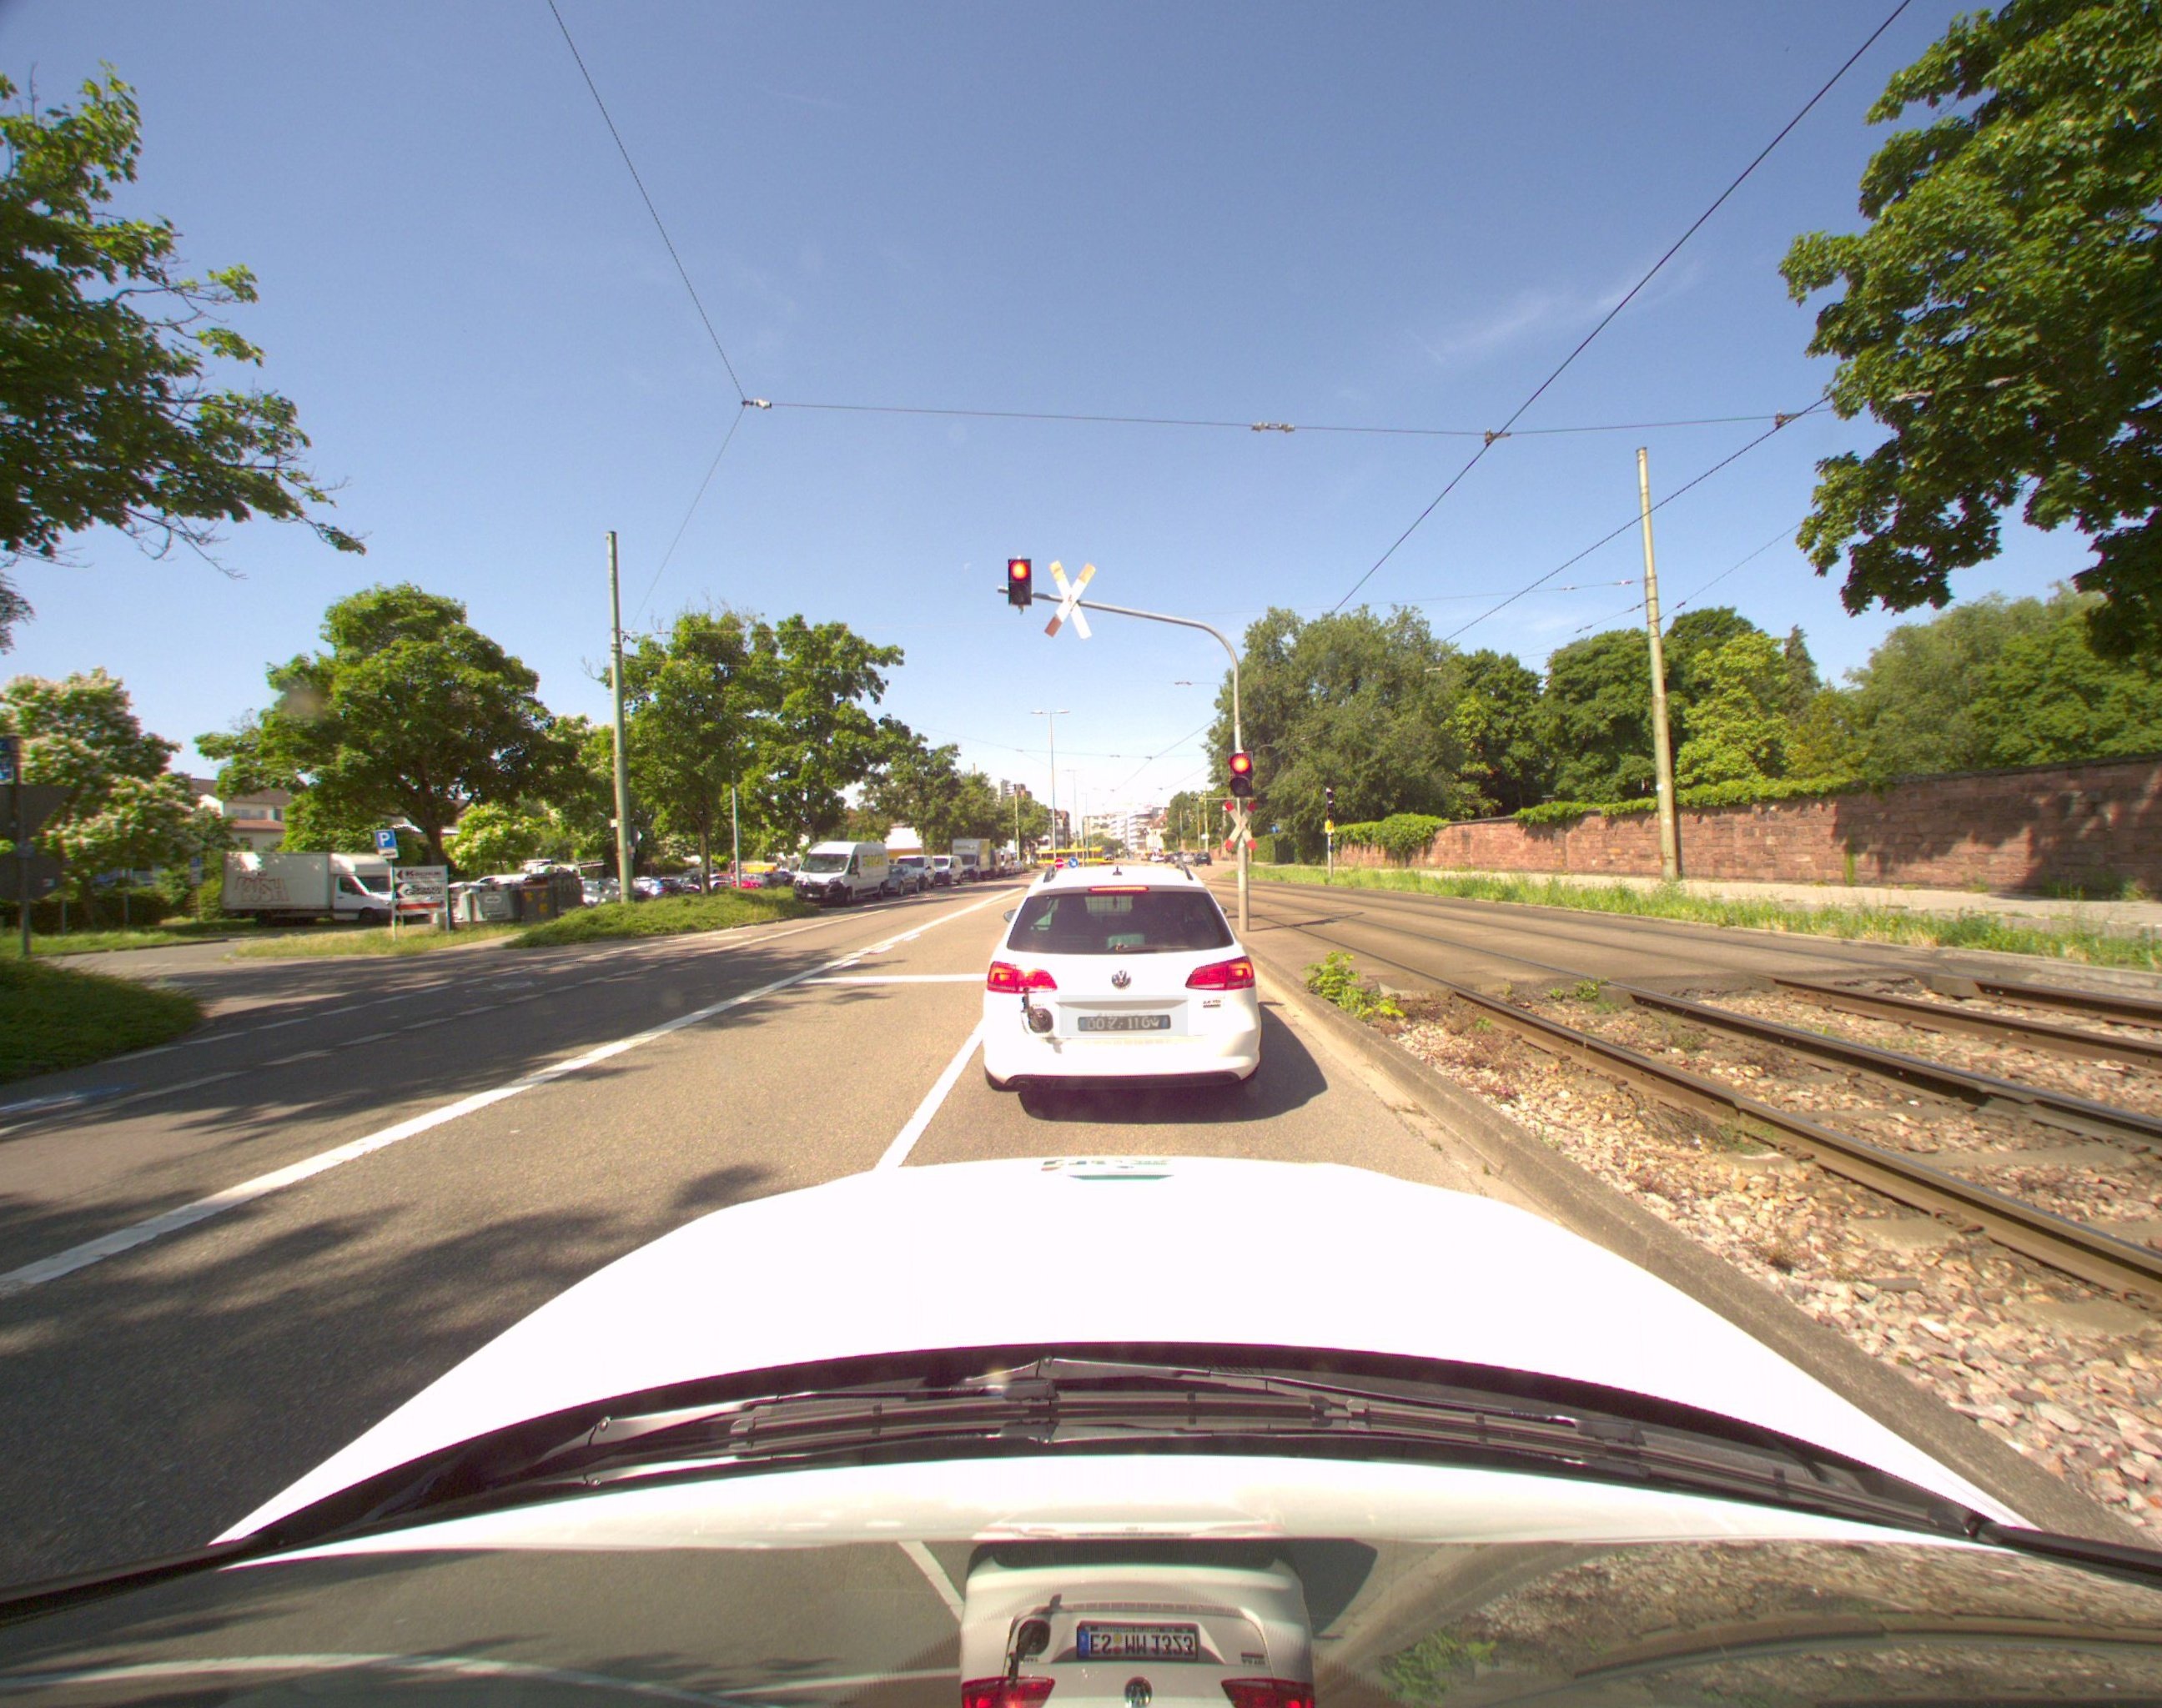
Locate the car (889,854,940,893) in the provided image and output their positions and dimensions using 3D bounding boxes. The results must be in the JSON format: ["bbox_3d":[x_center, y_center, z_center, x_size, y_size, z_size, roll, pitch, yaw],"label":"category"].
[{"bbox_3d":[-9.267,1.038,45.692,1.839,1.937,5.189,-3,0,-2],"label":"car"}]

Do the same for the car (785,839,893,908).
[{"bbox_3d":[-9.566,0.700,32.919,2.049,2.501,6.315,0,0,4],"label":"car"}]

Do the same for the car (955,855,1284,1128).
[{"bbox_3d":[0.242,0.745,6.340,1.762,1.446,3.913,0,0,1],"label":"car"}]

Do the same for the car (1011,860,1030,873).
[{"bbox_3d":[-7.135,1.472,96.953,1.774,1.433,4.039,-3,0,2],"label":"car"}]

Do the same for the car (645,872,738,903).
[{"bbox_3d":[-20.297,1.727,42.530,3.969,1.350,1.773,-3,0,4],"label":"car"}]

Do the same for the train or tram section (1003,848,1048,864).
[{"bbox_3d":[-12.333,0.491,179.977,10.667,3.253,2.323,-1,-1,35],"label":"train or tram section"}]

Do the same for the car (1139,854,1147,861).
[{"bbox_3d":[15.689,0.946,205.495,1.986,1.596,4.002,0,-1,2],"label":"car"}]

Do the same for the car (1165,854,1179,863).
[{"bbox_3d":[13.855,0.702,124.315,1.740,1.407,3.913,0,0,0],"label":"car"}]

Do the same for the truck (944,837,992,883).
[{"bbox_3d":[-8.301,0.390,60.721,2.348,3.122,6.892,-3,0,1],"label":"truck"}]

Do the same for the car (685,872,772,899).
[{"bbox_3d":[-19.419,1.728,44.928,3.969,1.264,1.773,-3,0,4],"label":"car"}]

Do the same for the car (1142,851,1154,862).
[{"bbox_3d":[15.655,0.552,191.436,2.454,2.499,5.912,0,-1,1],"label":"car"}]

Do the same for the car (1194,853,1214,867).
[{"bbox_3d":[12.479,0.555,82.929,1.738,1.388,3.918,-1,0,4],"label":"car"}]

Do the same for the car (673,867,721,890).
[{"bbox_3d":[-34.360,2.177,72.918,3.412,1.876,1.552,-3,0,-1],"label":"car"}]

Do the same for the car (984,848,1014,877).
[{"bbox_3d":[-7.612,0.776,76.330,1.836,2.494,5.860,-3,0,2],"label":"car"}]

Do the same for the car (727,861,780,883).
[{"bbox_3d":[-31.268,1.685,77.942,4.249,2.014,1.997,0,-1,-5],"label":"car"}]

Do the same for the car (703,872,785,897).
[{"bbox_3d":[-19.655,1.782,47.530,3.969,1.225,1.773,-3,0,4],"label":"car"}]

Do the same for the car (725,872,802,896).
[{"bbox_3d":[-19.520,1.819,50.124,3.969,1.225,1.773,-3,0,4],"label":"car"}]

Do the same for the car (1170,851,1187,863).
[{"bbox_3d":[13.204,0.415,110.714,1.855,1.513,3.913,0,0,0],"label":"car"}]

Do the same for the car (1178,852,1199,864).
[{"bbox_3d":[12.684,0.446,96.182,1.855,1.416,4.325,0,0,0],"label":"car"}]

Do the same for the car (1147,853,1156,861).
[{"bbox_3d":[14.793,0.641,171.174,1.685,1.812,3.455,0,-1,1],"label":"car"}]

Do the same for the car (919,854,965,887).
[{"bbox_3d":[-8.848,1.000,52.316,1.836,1.960,5.137,-3,0,2],"label":"car"}]

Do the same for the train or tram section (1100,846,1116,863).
[{"bbox_3d":[5.194,0.125,156.383,2.295,3.253,11.265,0,-1,-2],"label":"train or tram section"}]

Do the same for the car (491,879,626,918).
[{"bbox_3d":[-20.007,1.696,31.309,3.974,1.225,1.771,-3,0,0],"label":"car"}]

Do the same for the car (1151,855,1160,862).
[{"bbox_3d":[14.464,0.883,158.599,1.576,1.346,3.455,0,-1,1],"label":"car"}]

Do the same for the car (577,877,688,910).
[{"bbox_3d":[-20.105,1.749,36.614,3.969,1.225,1.773,-3,0,4],"label":"car"}]

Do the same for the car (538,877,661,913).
[{"bbox_3d":[-19.910,1.697,33.789,3.974,1.225,1.771,-3,0,0],"label":"car"}]

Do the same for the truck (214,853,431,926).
[{"bbox_3d":[-32.444,1.489,35.004,7.119,3.019,2.231,0,0,-1],"label":"truck"}]

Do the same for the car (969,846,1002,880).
[{"bbox_3d":[-7.963,0.748,68.479,1.836,2.668,5.006,-3,0,2],"label":"car"}]

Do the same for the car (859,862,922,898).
[{"bbox_3d":[-9.077,1.193,39.076,1.837,1.516,4.199,-3,0,2],"label":"car"}]

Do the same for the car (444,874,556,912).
[{"bbox_3d":[-32.235,2.133,45.270,4.683,2.014,1.997,0,-1,-4],"label":"car"}]

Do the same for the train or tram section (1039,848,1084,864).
[{"bbox_3d":[-4.194,0.375,173.434,10.669,3.253,2.323,-1,-1,40],"label":"train or tram section"}]

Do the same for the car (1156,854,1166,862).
[{"bbox_3d":[14.125,0.700,143.399,1.576,1.346,3.455,0,-1,1],"label":"car"}]

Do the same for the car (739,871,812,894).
[{"bbox_3d":[-19.646,1.844,52.452,3.969,1.225,1.773,-3,0,4],"label":"car"}]

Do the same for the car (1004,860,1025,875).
[{"bbox_3d":[-7.412,1.490,91.300,1.837,1.433,4.039,-3,0,2],"label":"car"}]

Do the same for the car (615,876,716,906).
[{"bbox_3d":[-20.287,1.800,39.846,3.969,1.225,1.773,-3,0,4],"label":"car"}]
